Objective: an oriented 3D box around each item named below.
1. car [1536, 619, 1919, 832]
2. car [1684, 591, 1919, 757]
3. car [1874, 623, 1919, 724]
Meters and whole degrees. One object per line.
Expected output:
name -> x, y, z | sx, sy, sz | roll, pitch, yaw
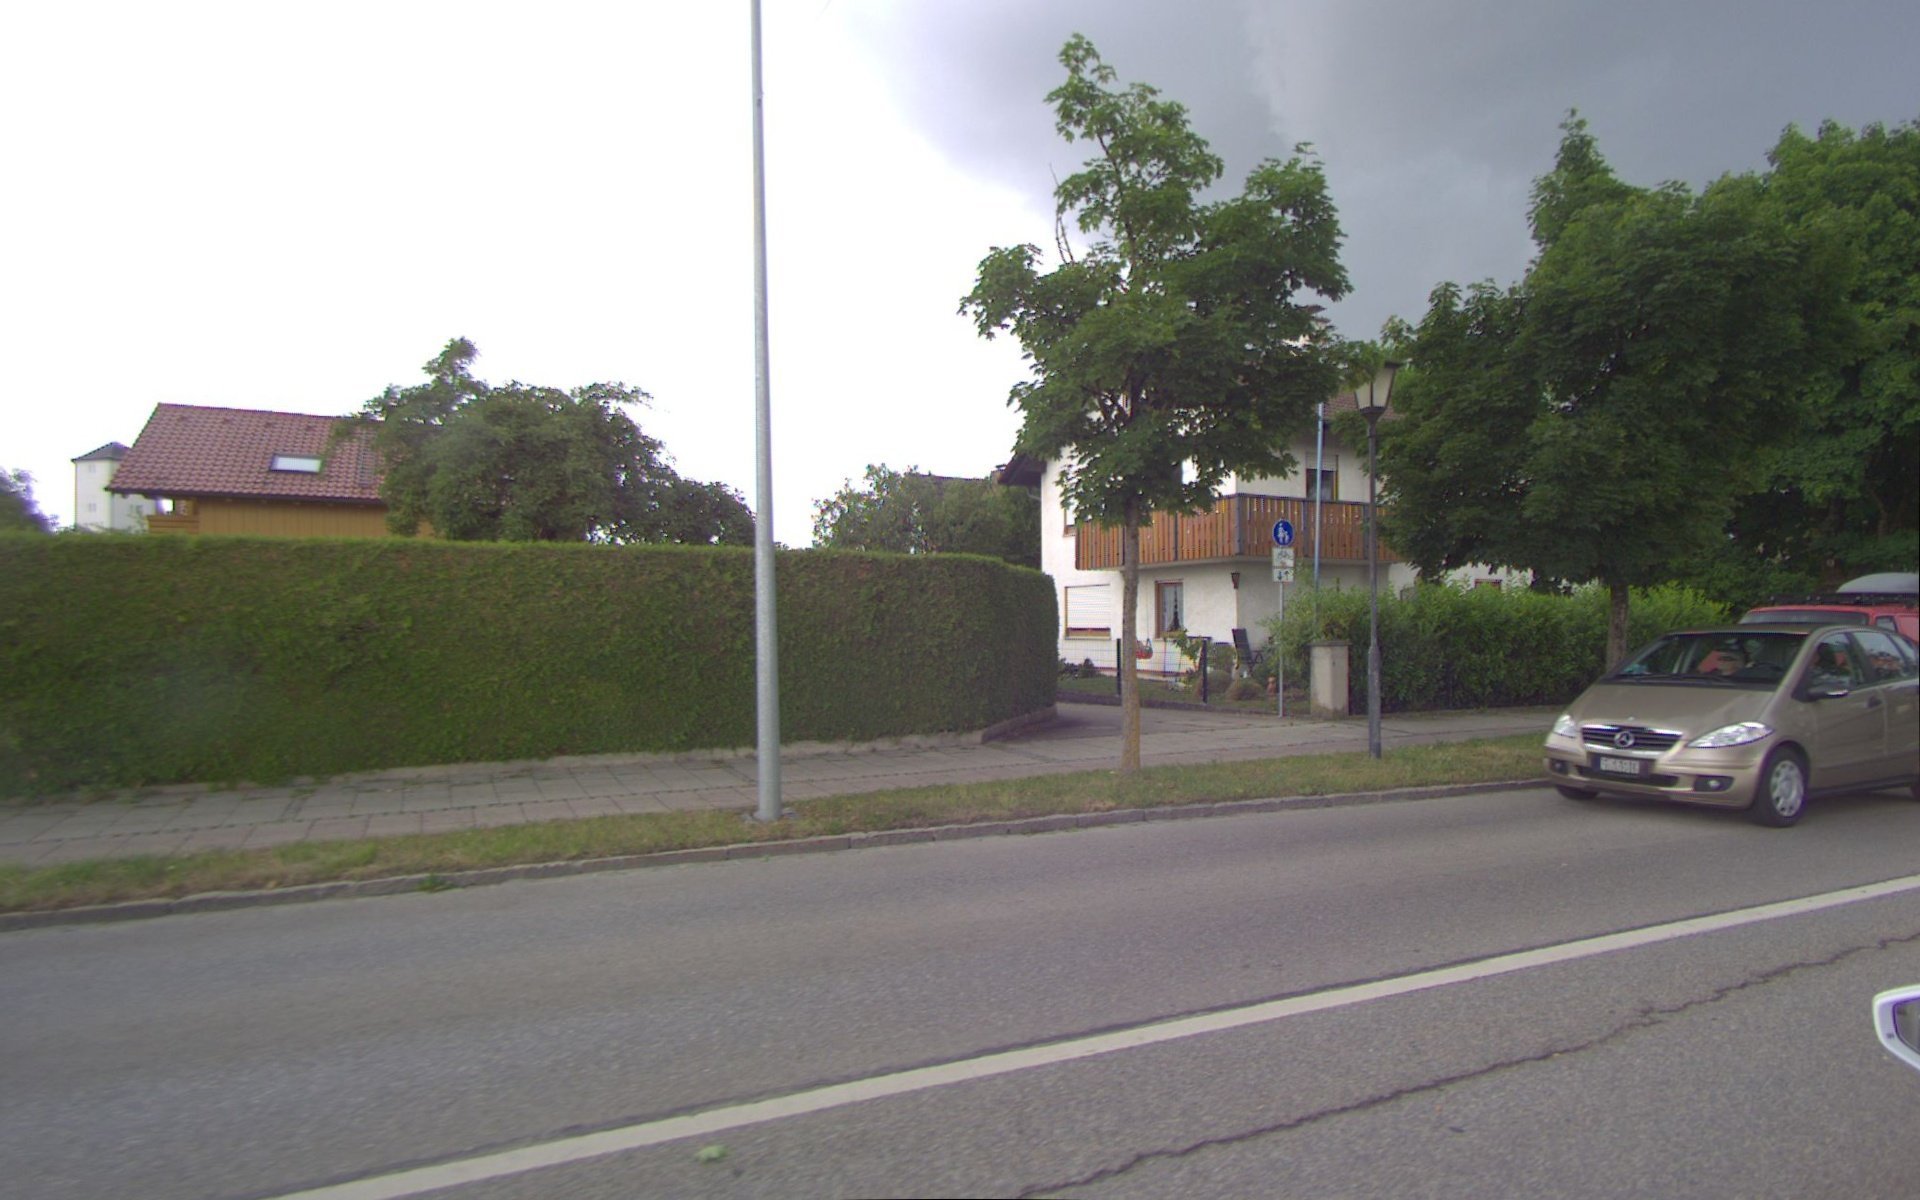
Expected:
car -> 7.067, 0.977, 8.935 | 3.461, 1.552, 1.702 | 0, -3, -26
car -> 12.723, 0.926, 14.408 | 4.983, 2.057, 1.822 | 0, 0, -29
car -> 17.657, 1.222, 17.186 | 4.186, 1.619, 1.764 | 0, 0, -29
